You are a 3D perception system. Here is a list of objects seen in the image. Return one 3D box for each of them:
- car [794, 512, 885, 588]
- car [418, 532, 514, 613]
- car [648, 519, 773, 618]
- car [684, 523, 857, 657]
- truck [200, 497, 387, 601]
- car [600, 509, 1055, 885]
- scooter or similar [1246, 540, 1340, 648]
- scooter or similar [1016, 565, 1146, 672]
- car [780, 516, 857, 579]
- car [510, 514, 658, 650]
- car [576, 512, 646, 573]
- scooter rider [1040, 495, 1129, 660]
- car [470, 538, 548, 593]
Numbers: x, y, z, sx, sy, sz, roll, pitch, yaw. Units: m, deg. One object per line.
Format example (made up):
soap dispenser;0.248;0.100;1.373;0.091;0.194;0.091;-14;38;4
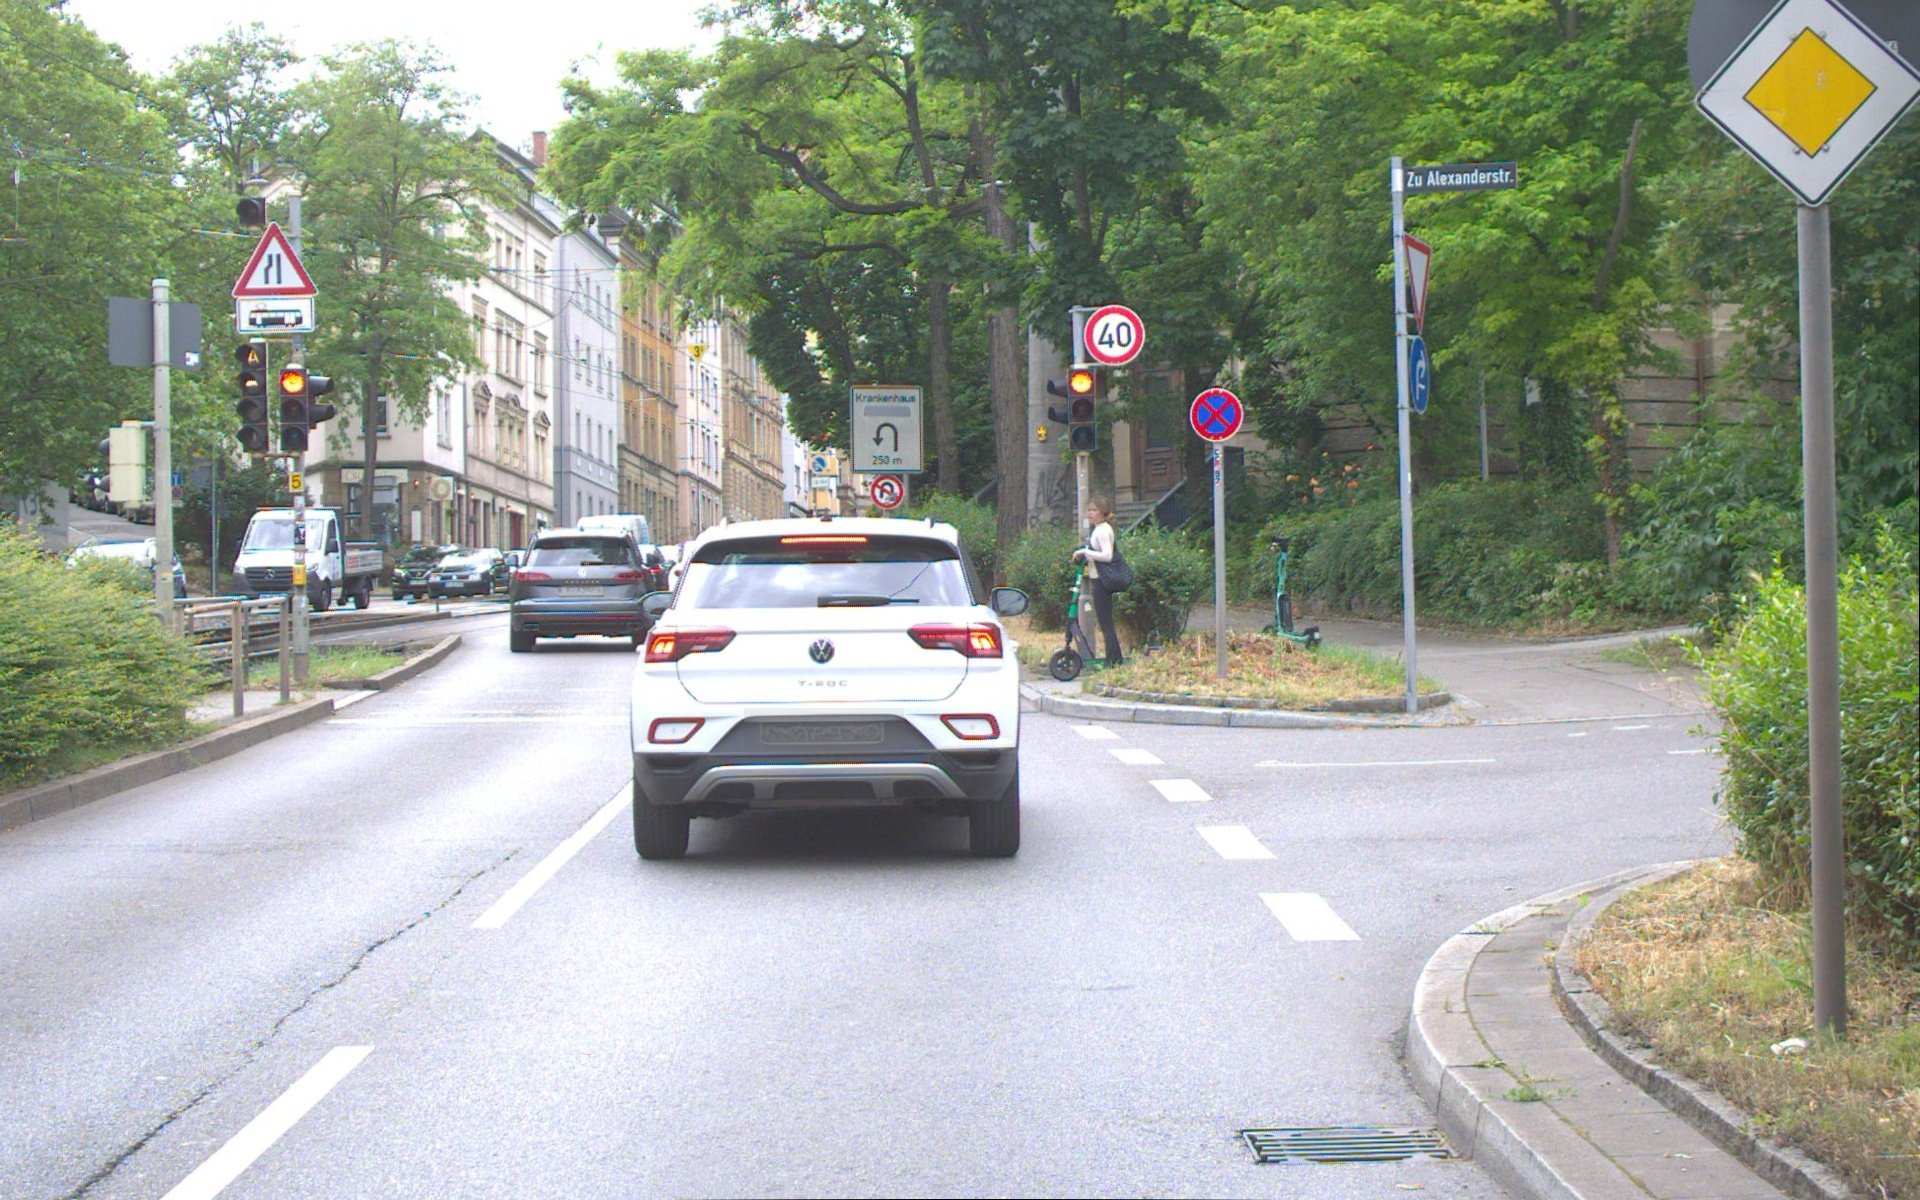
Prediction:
car;-3.599;-1.503;103.709;2.422;2.162;6.033;-1;1;1
car;-13.452;-0.720;93.824;1.993;2.007;4.000;2;-1;0
car;-4.336;-0.565;60.174;1.993;1.617;4.000;-1;1;-2
car;-2.483;-0.091;44.246;1.902;1.569;3.835;2;-1;-7
truck;-14.876;-1.165;77.148;2.422;2.162;6.032;2;1;6
car;-0.682;0.365;16.849;1.938;1.561;4.047;-1;2;-3
scooter or similar;3.472;-0.063;35.902;0.474;1.096;1.369;-2;0;-16
scooter or similar;1.162;0.175;33.132;1.187;0.991;0.531;-2;1;-3
car;-5.075;-1.887;124.038;2.422;2.162;6.033;-1;1;1
car;-5.123;-0.289;47.232;1.839;1.733;4.001;-1;2;-4
car;-11.953;-1.956;117.933;1.993;2.007;4.000;-1;1;-1
scooter rider;1.196;-0.220;33.102;0.777;1.552;0.532;-2;1;-3
car;-14.784;-1.118;112.892;1.993;1.618;4.000;2;-1;0
